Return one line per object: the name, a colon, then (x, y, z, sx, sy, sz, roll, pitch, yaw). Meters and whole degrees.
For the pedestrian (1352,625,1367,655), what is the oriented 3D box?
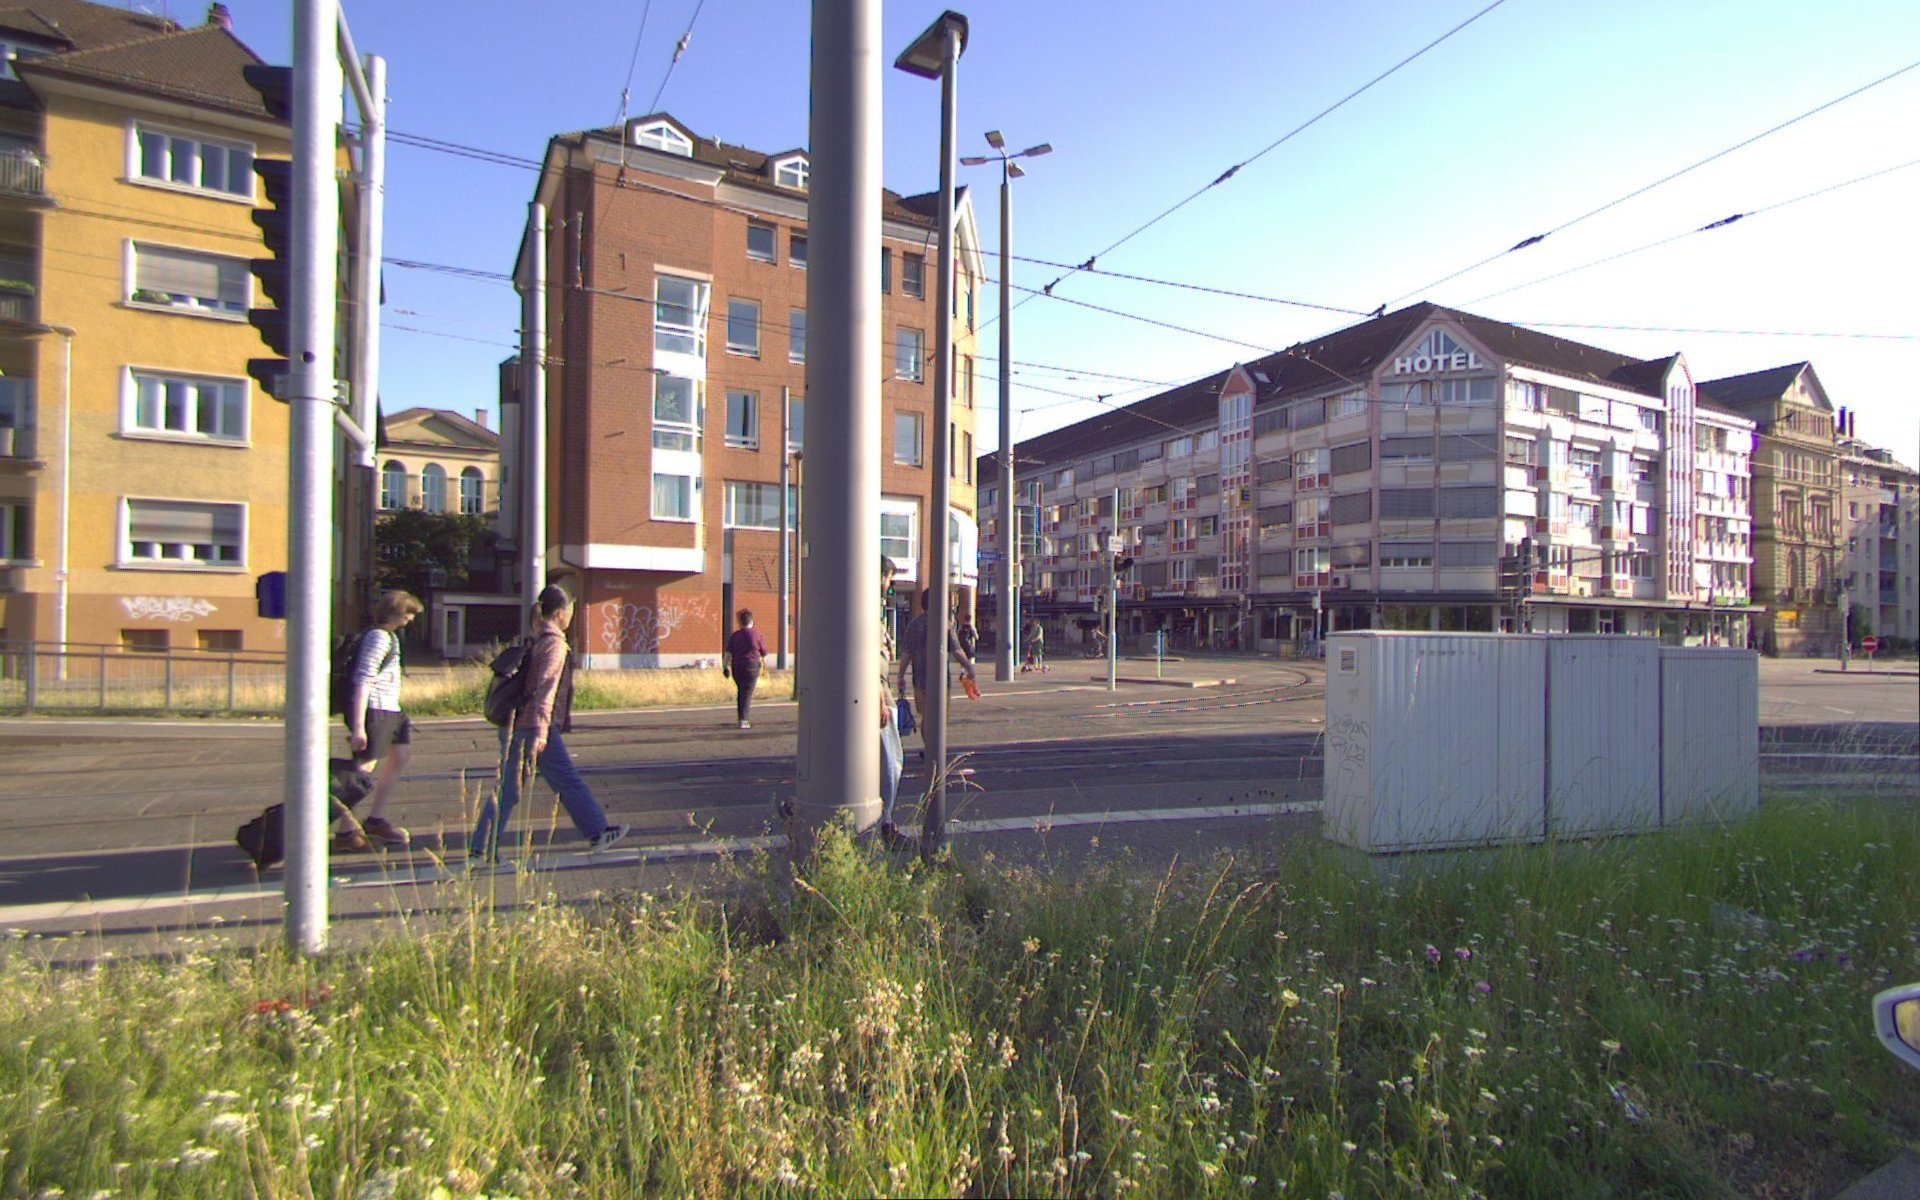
pedestrian: (24.294, 2.421, 61.127, 0.503, 1.788, 1.001, 2, 0, 40)

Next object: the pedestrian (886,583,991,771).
pedestrian: (-0.198, 0.737, 10.133, 0.761, 1.781, 0.900, 2, 0, 18)

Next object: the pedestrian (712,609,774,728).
pedestrian: (-3.029, 0.945, 14.056, 0.774, 1.609, 0.607, 2, 0, -10)

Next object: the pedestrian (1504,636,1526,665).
pedestrian: (29.093, 2.631, 52.671, 0.847, 1.472, 0.700, 2, 0, -34)

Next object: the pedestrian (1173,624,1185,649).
pedestrian: (16.645, 2.752, 76.425, 0.601, 1.877, 0.601, 2, 0, -20)

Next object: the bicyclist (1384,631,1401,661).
bicyclist: (24.053, 2.536, 55.873, 0.649, 1.618, 0.636, -1, 1, -26)

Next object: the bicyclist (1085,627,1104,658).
bicyclist: (6.644, 2.081, 49.660, 0.727, 1.501, 0.564, 0, 1, -20)

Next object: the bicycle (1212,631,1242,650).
bicycle: (18.457, 2.810, 69.591, 0.720, 1.243, 2.319, 2, -2, -24)

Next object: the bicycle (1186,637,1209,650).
bicycle: (17.089, 3.119, 72.275, 0.494, 0.929, 2.066, 2, -2, -24)

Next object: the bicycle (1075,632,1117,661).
bicycle: (6.735, 2.294, 49.688, 2.063, 1.385, 0.582, 0, 1, -20)

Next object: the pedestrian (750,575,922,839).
pedestrian: (-0.858, 0.681, 6.884, 0.890, 1.662, 0.781, 2, 0, -32)

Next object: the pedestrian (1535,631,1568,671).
pedestrian: (31.228, 2.675, 53.052, 0.847, 1.909, 1.187, -7, 5, -34)

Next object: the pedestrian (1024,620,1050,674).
pedestrian: (2.734, 1.655, 35.681, 0.713, 1.872, 0.559, 2, 0, -23)

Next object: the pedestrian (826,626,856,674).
pedestrian: (-4.079, 1.696, 34.432, 0.830, 1.605, 0.680, 2, 0, -23)

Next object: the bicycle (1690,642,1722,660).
bicycle: (48.489, 3.295, 65.277, 2.056, 1.085, 0.451, 2, 0, -13)

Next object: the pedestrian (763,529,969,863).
pedestrian: (-0.575, 0.551, 6.045, 0.889, 1.824, 0.782, 4, -1, -29)

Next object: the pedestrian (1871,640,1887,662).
pedestrian: (71.837, 3.976, 78.507, 0.715, 1.717, 0.692, 2, 0, -30)

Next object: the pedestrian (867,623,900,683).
pedestrian: (-2.108, 1.469, 27.806, 0.825, 1.605, 0.683, 2, 0, -3)

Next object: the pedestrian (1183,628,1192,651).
pedestrian: (16.814, 2.891, 74.141, 0.598, 1.656, 0.604, 2, -3, 15)

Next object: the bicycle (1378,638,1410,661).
bicycle: (24.182, 2.763, 55.946, 1.746, 1.160, 0.636, -1, 1, -27)

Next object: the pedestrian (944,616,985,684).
pedestrian: (0.122, 1.323, 26.982, 0.824, 1.781, 0.687, 2, 0, -44)

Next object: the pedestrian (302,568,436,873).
pedestrian: (-3.509, 0.664, 5.973, 0.612, 1.662, 0.781, 2, 0, -32)

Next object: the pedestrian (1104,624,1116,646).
pedestrian: (12.537, 2.887, 83.884, 0.804, 1.802, 0.680, 2, 0, 0)

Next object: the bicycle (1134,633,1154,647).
bicycle: (14.630, 3.183, 79.846, 1.630, 1.134, 0.480, 2, 0, -30)

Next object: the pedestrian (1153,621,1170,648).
pedestrian: (12.652, 2.166, 63.041, 0.773, 1.682, 0.677, 2, 0, -35)

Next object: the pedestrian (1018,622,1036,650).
pedestrian: (4.086, 2.203, 61.039, 0.773, 1.682, 0.677, 2, 0, -35)

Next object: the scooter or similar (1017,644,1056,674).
scooter or similar: (2.714, 2.095, 35.694, 1.311, 1.019, 0.484, 2, 0, -23)

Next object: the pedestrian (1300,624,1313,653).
pedestrian: (20.945, 2.318, 60.700, 0.612, 1.717, 0.866, 2, 0, 29)

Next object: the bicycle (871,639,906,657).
bicycle: (-3.915, 2.622, 55.025, 1.813, 0.974, 0.540, 1, 1, -27)

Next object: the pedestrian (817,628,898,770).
pedestrian: (-1.041, 0.989, 10.305, 0.585, 1.378, 0.608, 1, 0, 21)

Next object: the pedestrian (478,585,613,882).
pedestrian: (-2.383, 0.705, 5.746, 0.612, 1.556, 0.782, 2, 0, -28)

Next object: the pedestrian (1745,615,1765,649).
pedestrian: (57.836, 2.313, 73.069, 0.953, 2.430, 0.918, 2, 0, -40)
